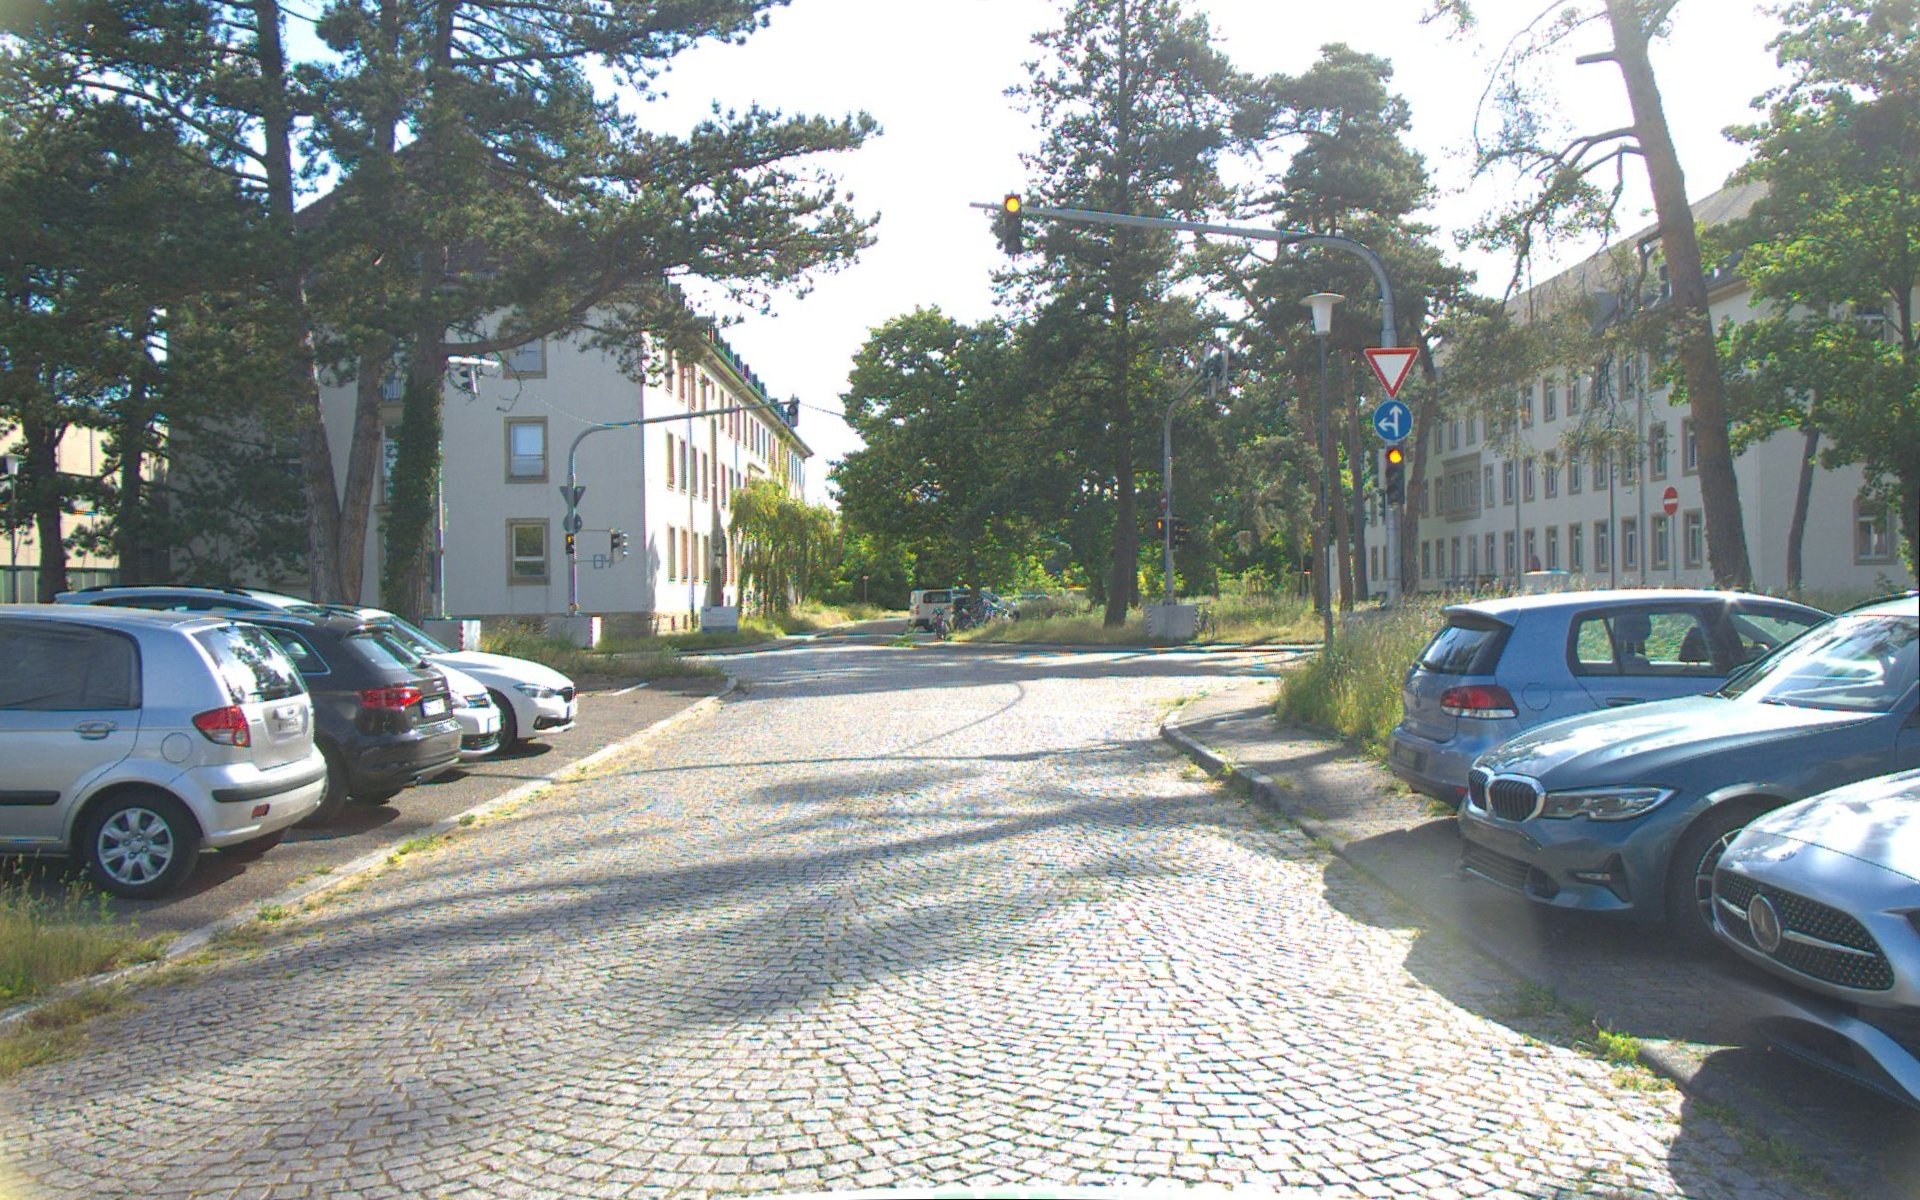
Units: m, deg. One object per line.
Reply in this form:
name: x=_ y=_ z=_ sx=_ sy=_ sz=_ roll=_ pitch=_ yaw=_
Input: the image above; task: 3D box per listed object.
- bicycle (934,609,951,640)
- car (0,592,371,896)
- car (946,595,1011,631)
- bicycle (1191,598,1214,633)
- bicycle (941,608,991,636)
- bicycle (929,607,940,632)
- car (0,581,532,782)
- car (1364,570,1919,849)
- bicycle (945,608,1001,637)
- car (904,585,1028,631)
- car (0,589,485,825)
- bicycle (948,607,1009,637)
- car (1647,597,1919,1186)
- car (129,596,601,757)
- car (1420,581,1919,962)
bicycle: x=-0.580 y=0.813 z=55.506 sx=0.458 sy=1.028 sz=1.585 roll=1 pitch=-1 yaw=-4
car: x=-5.425 y=0.725 z=9.227 sx=3.672 sy=1.513 sz=1.645 roll=1 pitch=0 yaw=-4
car: x=0.825 y=0.581 z=73.639 sx=2.727 sy=1.492 sz=1.669 roll=1 pitch=-1 yaw=-5
bicycle: x=6.915 y=0.452 z=47.145 sx=0.294 sy=0.977 sz=1.585 roll=1 pitch=-1 yaw=-4
bicycle: x=0.210 y=0.825 z=62.624 sx=1.803 sy=1.028 sz=0.635 roll=1 pitch=-1 yaw=-8
bicycle: x=-1.058 y=0.817 z=68.793 sx=0.409 sy=1.028 sz=1.483 roll=1 pitch=-1 yaw=0
car: x=-6.078 y=0.684 z=14.850 sx=3.999 sy=1.621 sz=1.884 roll=1 pitch=0 yaw=-4
car: x=4.639 y=0.612 z=10.306 sx=3.803 sy=1.440 sz=1.636 roll=-3 pitch=0 yaw=0
bicycle: x=0.476 y=0.815 z=60.872 sx=1.967 sy=1.028 sz=0.631 roll=1 pitch=-1 yaw=-8
car: x=0.295 y=0.384 z=77.237 sx=5.437 sy=2.049 sz=1.989 roll=1 pitch=-1 yaw=-19
car: x=-5.623 y=0.712 z=11.895 sx=3.908 sy=1.506 sz=1.802 roll=1 pitch=0 yaw=-4
bicycle: x=0.657 y=0.803 z=59.161 sx=2.070 sy=1.028 sz=0.620 roll=1 pitch=-1 yaw=-8
car: x=4.580 y=0.664 z=4.865 sx=4.341 sy=1.440 sz=1.781 roll=-3 pitch=0 yaw=0
car: x=-6.054 y=0.761 z=17.249 sx=4.247 sy=1.494 sz=1.829 roll=1 pitch=0 yaw=-4
car: x=4.583 y=0.645 z=7.563 sx=4.466 sy=1.440 sz=1.636 roll=-3 pitch=0 yaw=0
